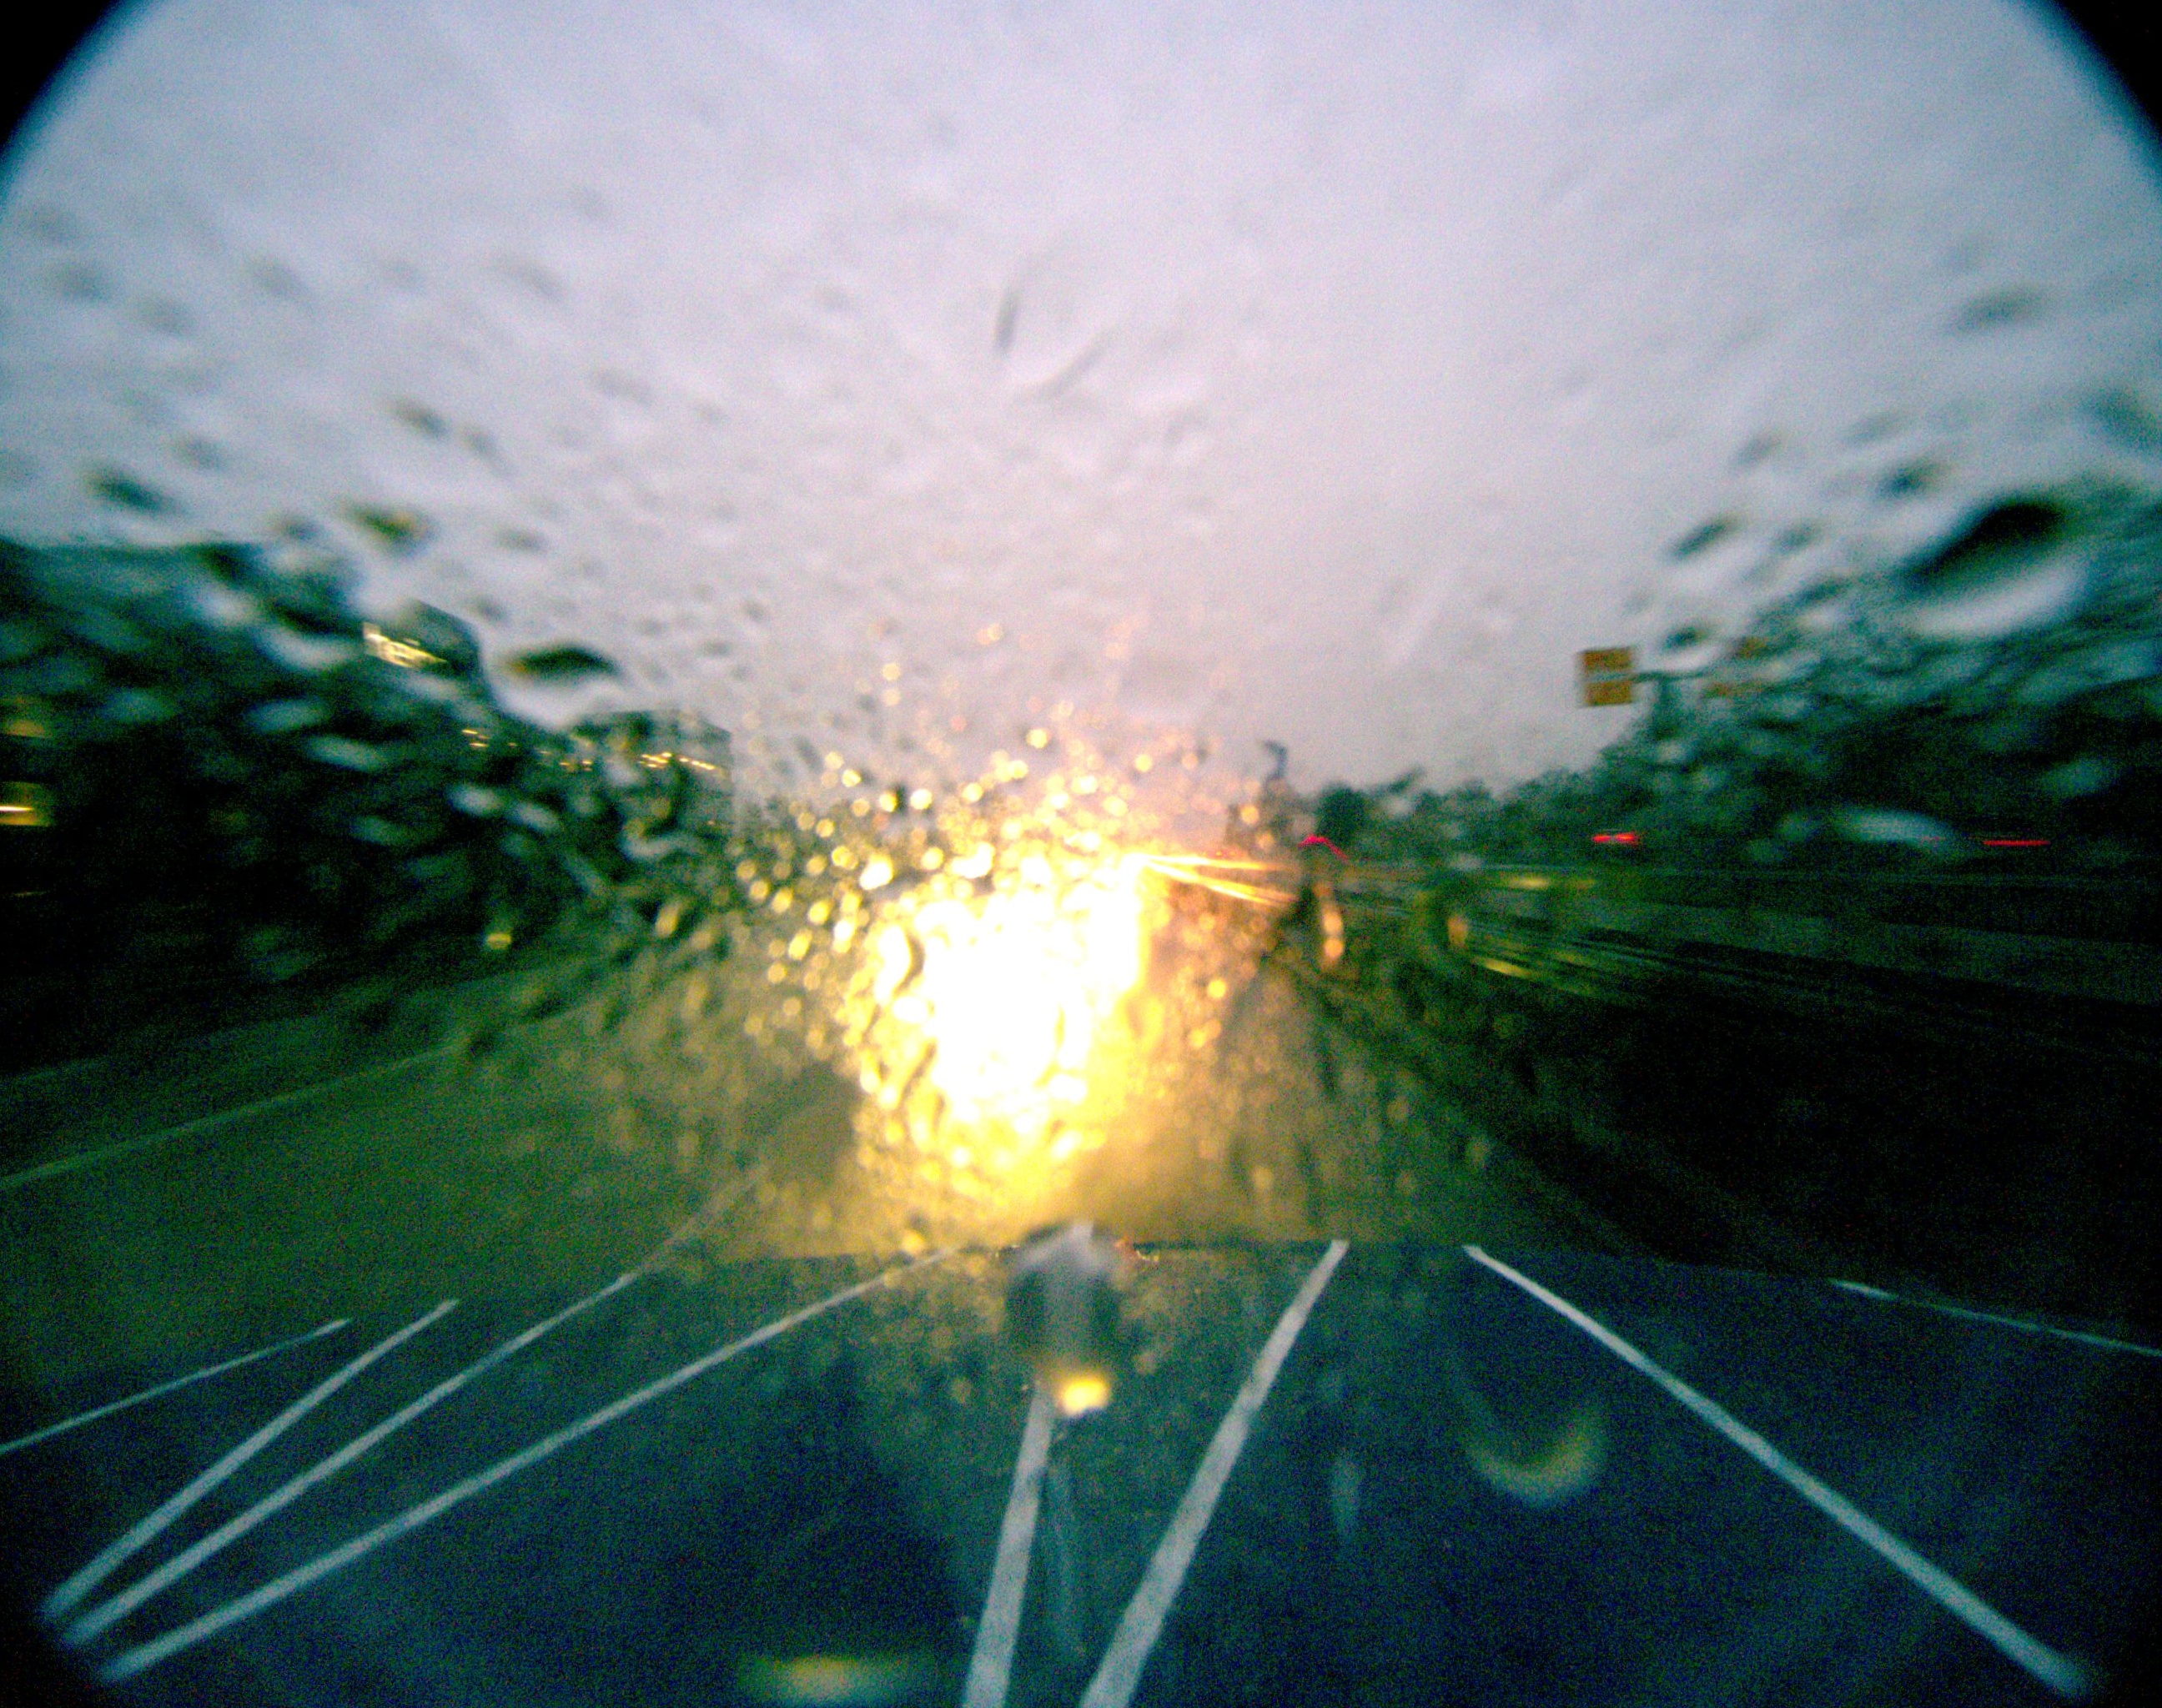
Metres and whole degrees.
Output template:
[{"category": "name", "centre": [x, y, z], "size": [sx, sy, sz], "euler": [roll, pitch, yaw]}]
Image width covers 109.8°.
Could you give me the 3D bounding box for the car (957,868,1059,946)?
[{"category": "car", "centre": [-1.530, 1.116, 17.444], "size": [1.594, 1.445, 4.177], "euler": [-3, 0, 4]}]

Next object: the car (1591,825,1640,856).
[{"category": "car", "centre": [35.594, -0.907, 50.710], "size": [1.995, 1.902, 4.452], "euler": [-2, 1, 26]}]

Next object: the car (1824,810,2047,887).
[{"category": "car", "centre": [24.483, -0.171, 22.070], "size": [1.997, 1.902, 4.449], "euler": [-3, 0, 12]}]

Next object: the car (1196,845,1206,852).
[{"category": "car", "centre": [25.900, -1.226, 163.790], "size": [1.700, 1.433, 3.682], "euler": [-3, 0, 5]}]

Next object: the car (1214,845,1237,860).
[{"category": "car", "centre": [15.969, -0.196, 84.299], "size": [1.841, 1.547, 4.355], "euler": [-3, 0, 3]}]

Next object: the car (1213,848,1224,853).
[{"category": "car", "centre": [32.049, -0.826, 177.210], "size": [1.801, 1.155, 3.999], "euler": [-3, 0, -1]}]

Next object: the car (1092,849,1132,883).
[{"category": "car", "centre": [1.596, 0.563, 38.076], "size": [1.758, 1.521, 4.001], "euler": [-3, 0, 5]}]
